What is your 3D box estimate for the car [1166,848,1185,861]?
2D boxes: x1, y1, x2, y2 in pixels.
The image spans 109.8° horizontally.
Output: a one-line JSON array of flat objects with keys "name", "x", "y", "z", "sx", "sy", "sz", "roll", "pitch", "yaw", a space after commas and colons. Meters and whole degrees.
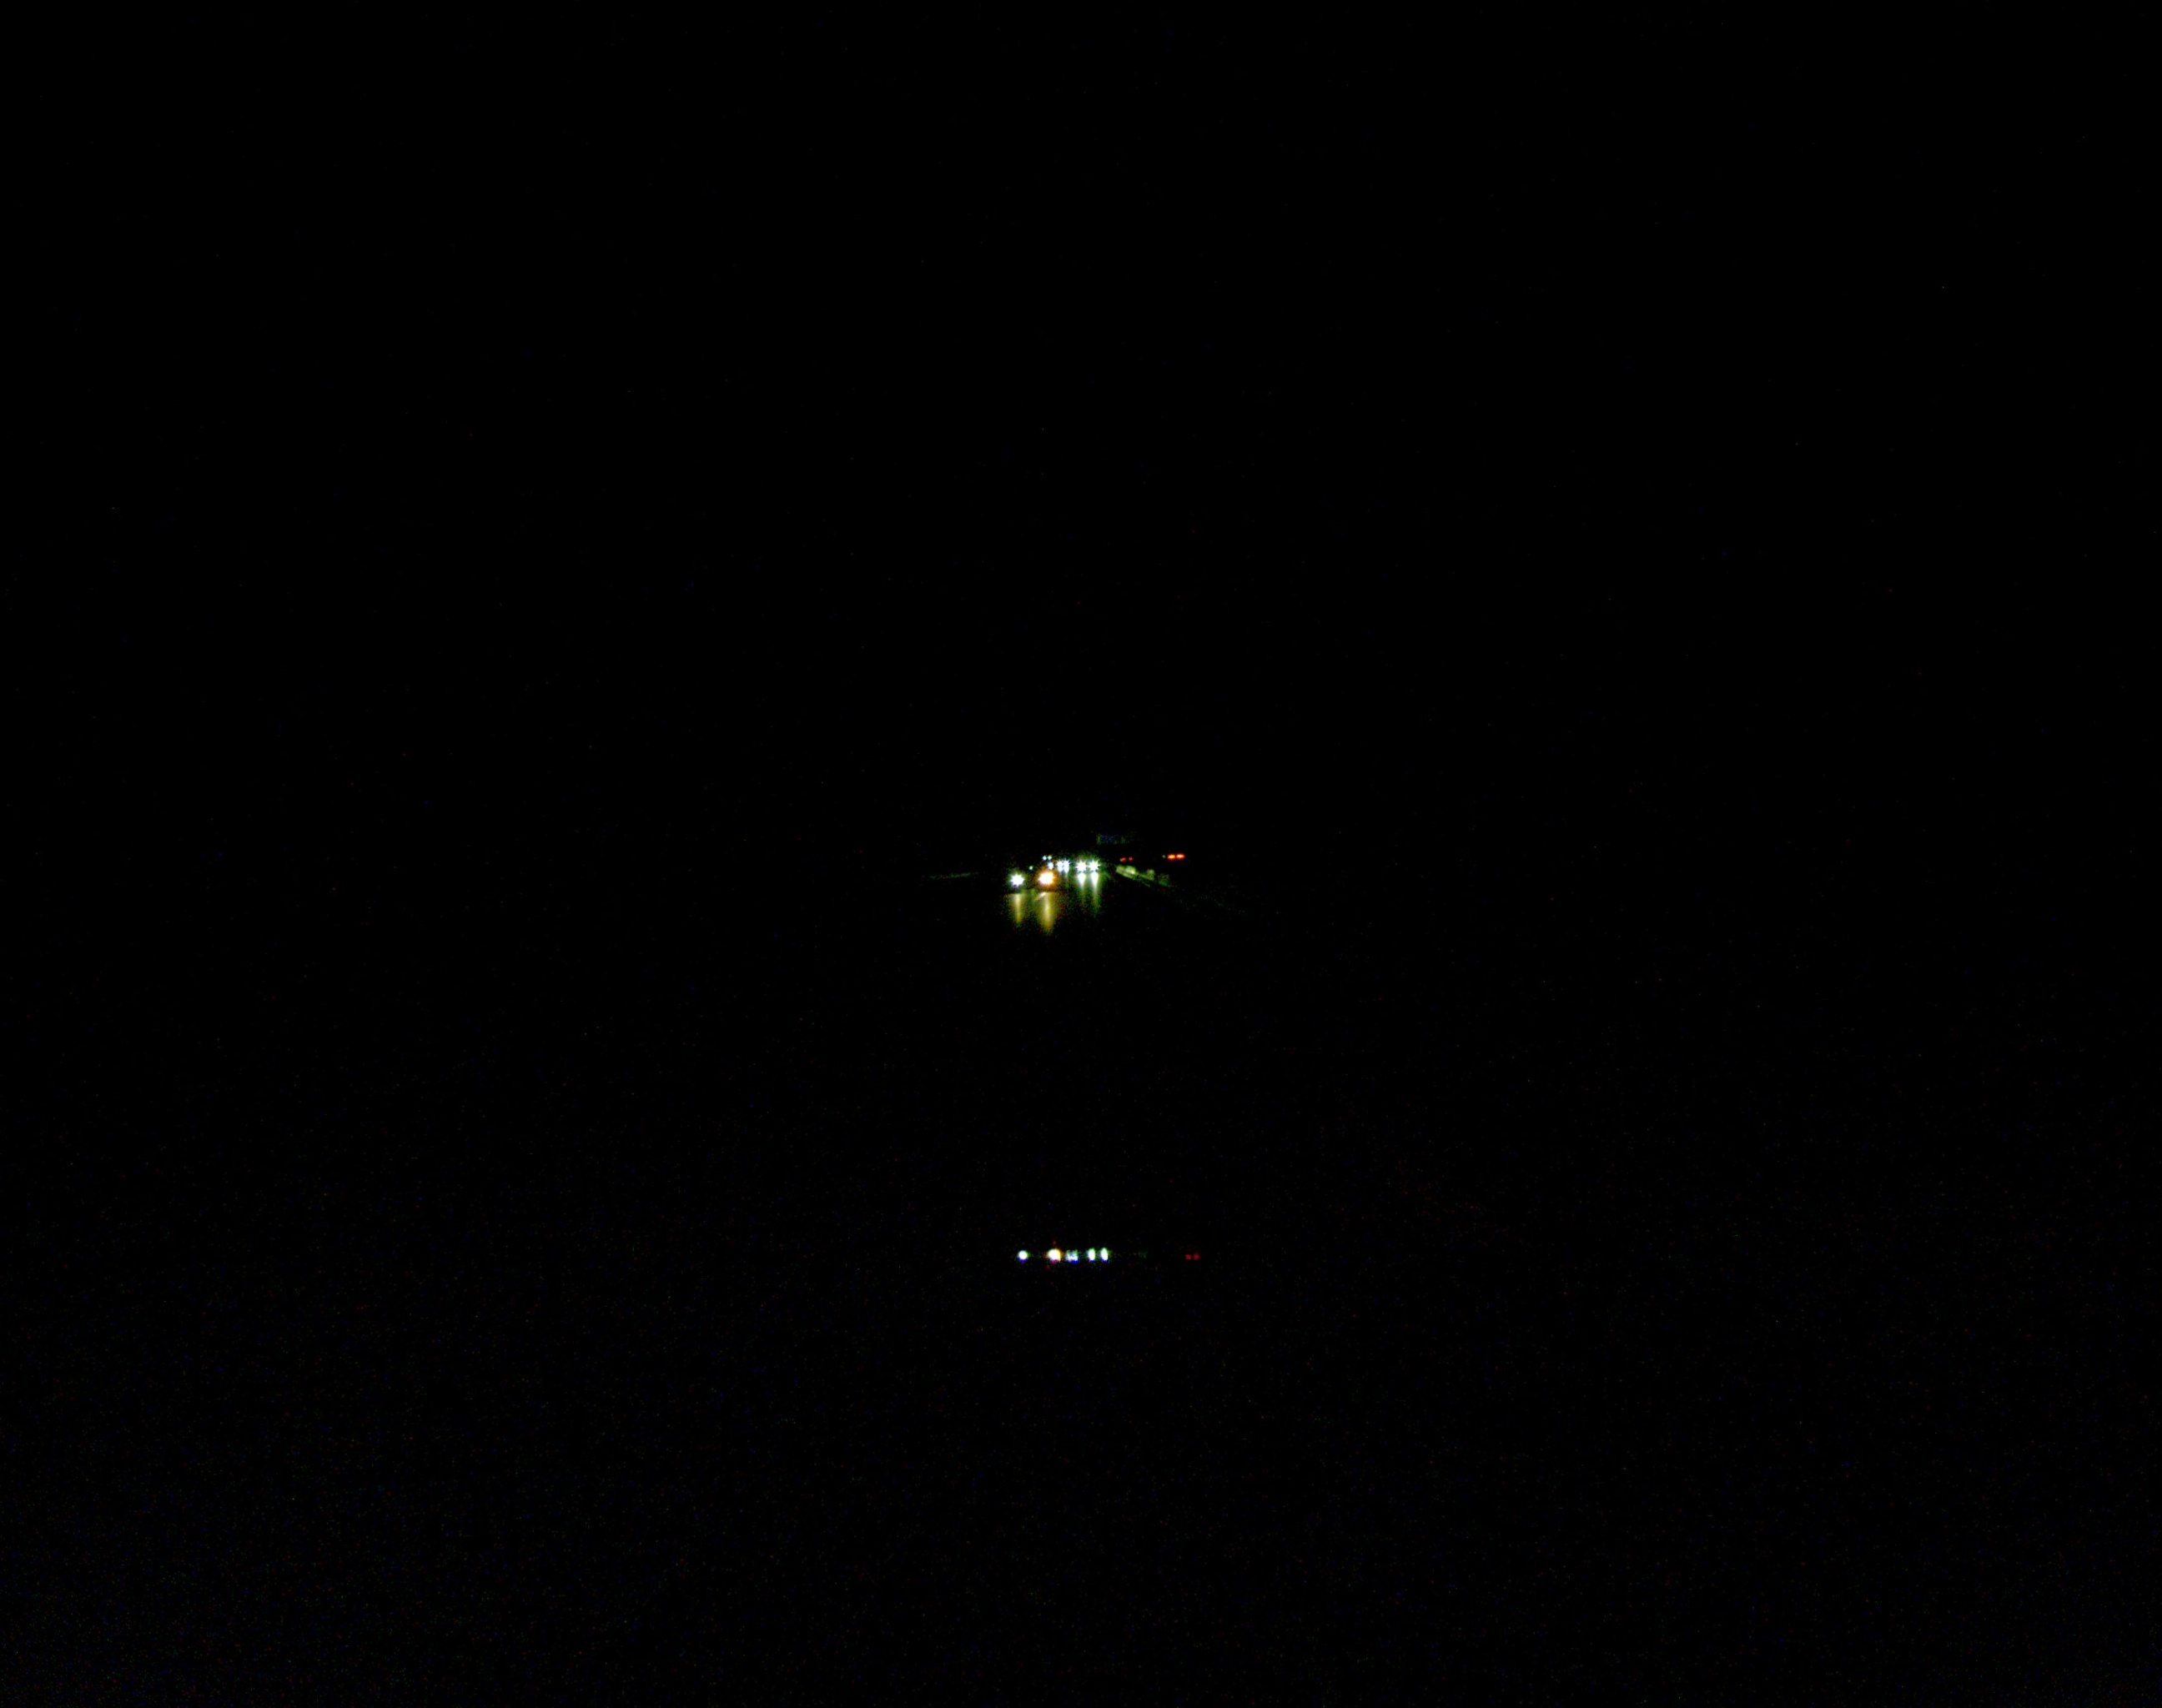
[{"name": "car", "x": 12.630, "y": 0.068, "z": 101.545, "sx": 1.938, "sy": 1.552, "sz": 4.453, "roll": -4, "pitch": 0, "yaw": 0}]

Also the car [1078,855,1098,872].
[{"name": "car", "x": 0.805, "y": 0.985, "z": 82.935, "sx": 2.012, "sy": 1.652, "sz": 4.000, "roll": -4, "pitch": 0, "yaw": 1}]

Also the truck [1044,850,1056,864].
[{"name": "truck", "x": -10.493, "y": 1.002, "z": 256.264, "sx": 3.347, "sy": 4.407, "sz": 6.991, "roll": -5, "pitch": 0, "yaw": -5}]

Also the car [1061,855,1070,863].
[{"name": "car", "x": -3.782, "y": 1.221, "z": 181.382, "sx": 1.939, "sy": 1.608, "sz": 4.000, "roll": -4, "pitch": 0, "yaw": -1}]

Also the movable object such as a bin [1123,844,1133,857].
[{"name": "movable object such as a bin", "x": 14.118, "y": -1.050, "z": 226.650, "sx": 2.299, "sy": 3.747, "sz": 7.685, "roll": -3, "pitch": 0, "yaw": 0}]

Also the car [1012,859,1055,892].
[{"name": "car", "x": -2.330, "y": 1.051, "z": 38.258, "sx": 1.840, "sy": 1.392, "sz": 5.069, "roll": -4, "pitch": -1, "yaw": -1}]

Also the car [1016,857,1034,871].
[{"name": "car", "x": -7.532, "y": 1.337, "z": 102.349, "sx": 1.999, "sy": 1.707, "sz": 5.167, "roll": -4, "pitch": -1, "yaw": -2}]
